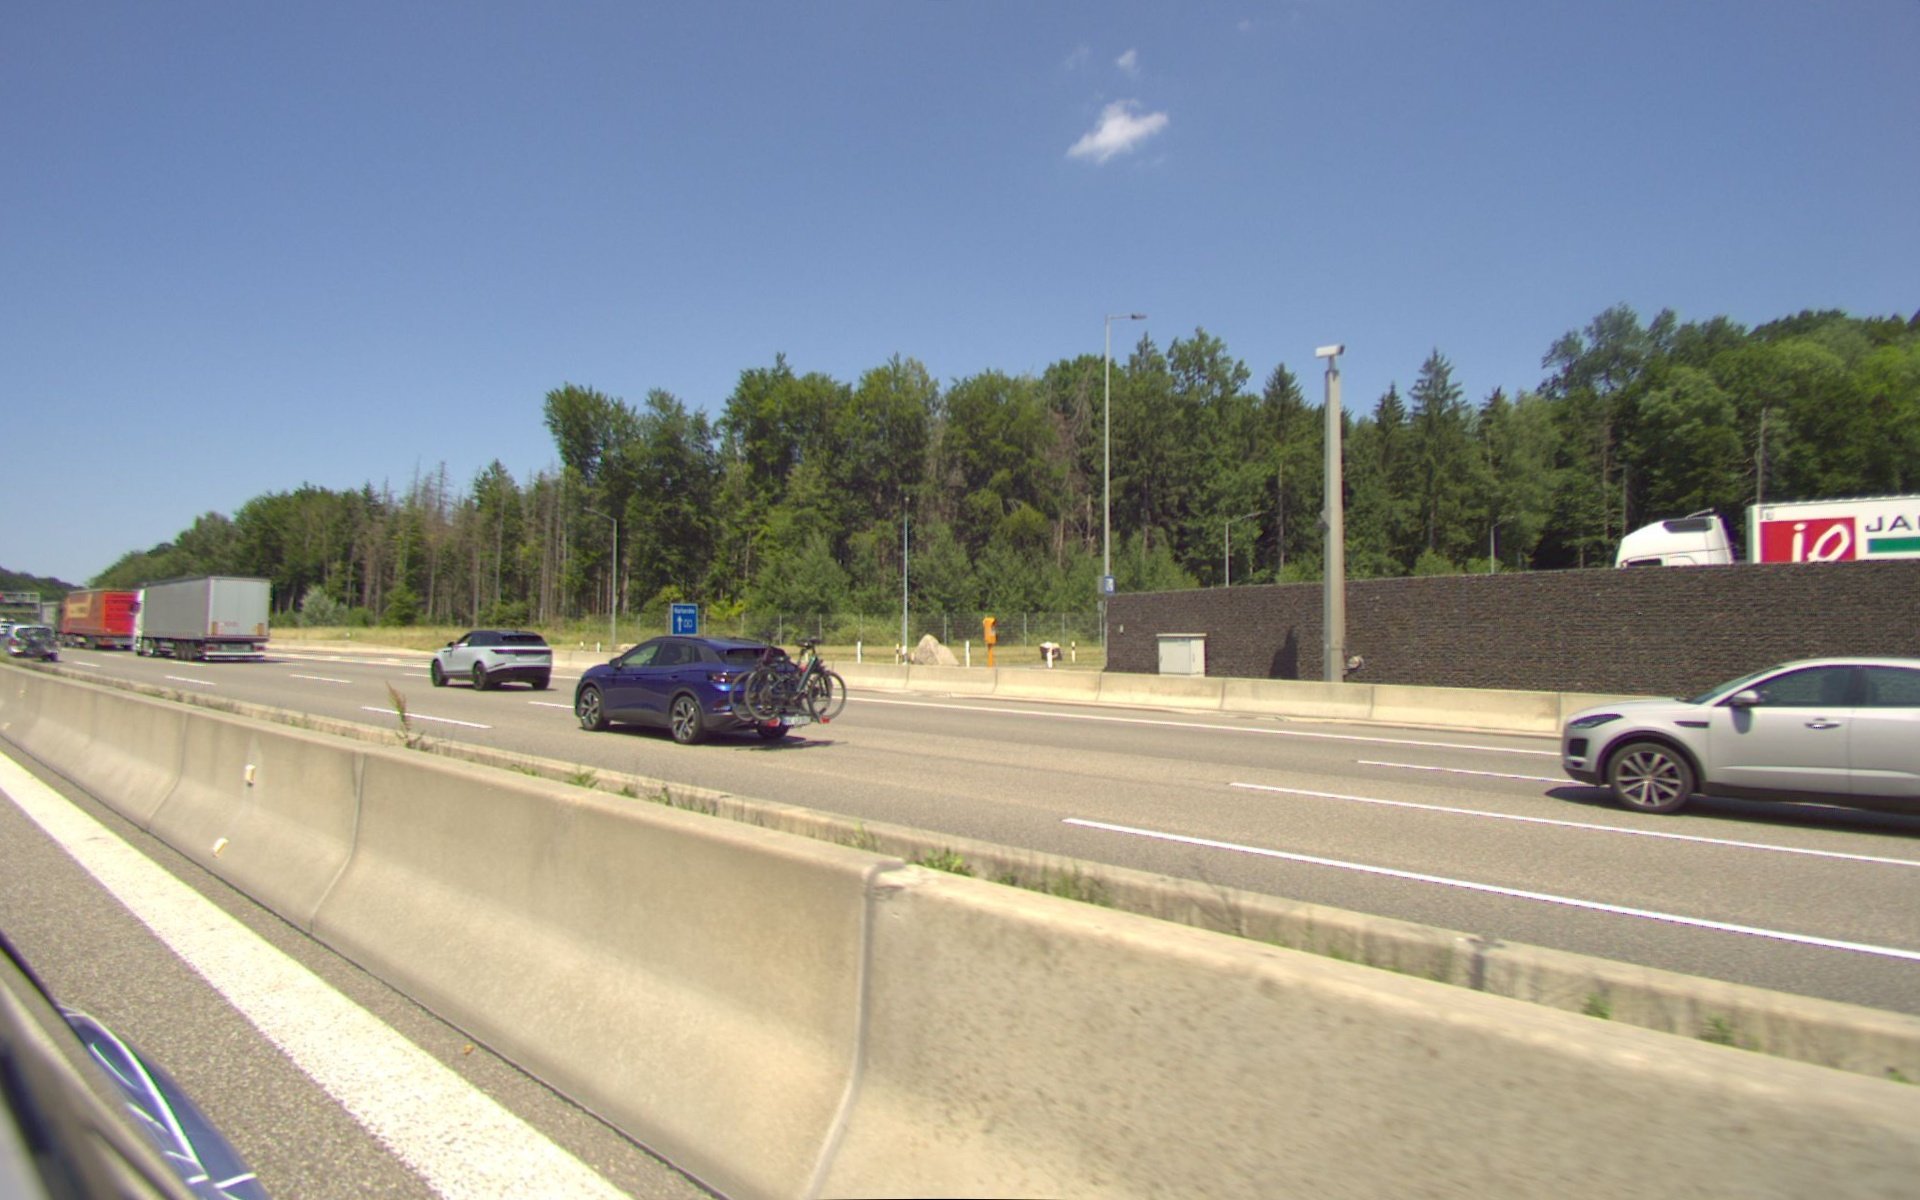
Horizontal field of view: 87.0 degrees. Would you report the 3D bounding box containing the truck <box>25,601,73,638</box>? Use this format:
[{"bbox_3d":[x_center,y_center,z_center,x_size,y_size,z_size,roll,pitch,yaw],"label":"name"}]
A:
[{"bbox_3d":[-102.260,2.224,113.565,5.537,3.961,3.253,-1,-3,41],"label":"truck"}]

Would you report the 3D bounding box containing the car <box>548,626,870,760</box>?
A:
[{"bbox_3d":[-4.195,1.315,16.161,5.921,1.787,1.972,-1,-3,41],"label":"car"}]

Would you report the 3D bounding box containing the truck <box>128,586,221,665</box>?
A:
[{"bbox_3d":[-43.359,1.412,55.800,6.778,4.062,2.706,-1,-3,41],"label":"truck"}]

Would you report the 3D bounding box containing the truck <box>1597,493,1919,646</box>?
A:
[{"bbox_3d":[18.721,-0.545,23.572,6.200,3.148,2.896,-1,-2,41],"label":"truck"}]

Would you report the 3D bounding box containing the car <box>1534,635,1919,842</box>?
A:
[{"bbox_3d":[9.006,1.243,9.611,5.921,1.787,1.972,-1,-3,41],"label":"car"}]

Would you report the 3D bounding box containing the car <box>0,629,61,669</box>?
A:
[{"bbox_3d":[-41.504,2.124,44.881,5.460,1.655,1.765,-1,-3,41],"label":"car"}]

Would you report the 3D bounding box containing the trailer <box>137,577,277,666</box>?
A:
[{"bbox_3d":[-38.697,1.157,51.659,14.460,4.032,2.725,-1,-3,41],"label":"trailer"}]

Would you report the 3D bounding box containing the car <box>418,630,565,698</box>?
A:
[{"bbox_3d":[-13.590,1.760,29.205,5.036,1.787,1.972,-1,-3,41],"label":"car"}]

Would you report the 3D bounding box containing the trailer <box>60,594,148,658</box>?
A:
[{"bbox_3d":[-59.625,1.814,70.297,14.175,4.081,2.544,-1,-3,41],"label":"trailer"}]

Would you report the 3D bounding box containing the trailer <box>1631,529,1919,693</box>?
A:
[{"bbox_3d":[30.989,0.496,36.336,3.082,5.111,14.580,0,-2,-4],"label":"trailer"}]

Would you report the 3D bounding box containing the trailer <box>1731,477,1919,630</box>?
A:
[{"bbox_3d":[23.894,-0.986,19.176,14.603,3.148,2.941,-1,-2,41],"label":"trailer"}]

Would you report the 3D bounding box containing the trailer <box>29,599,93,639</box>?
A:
[{"bbox_3d":[-96.834,2.055,108.859,14.272,4.032,3.307,-1,-3,41],"label":"trailer"}]

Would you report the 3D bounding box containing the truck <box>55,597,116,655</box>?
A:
[{"bbox_3d":[-64.621,1.936,74.739,6.469,4.080,2.501,-1,-3,41],"label":"truck"}]
